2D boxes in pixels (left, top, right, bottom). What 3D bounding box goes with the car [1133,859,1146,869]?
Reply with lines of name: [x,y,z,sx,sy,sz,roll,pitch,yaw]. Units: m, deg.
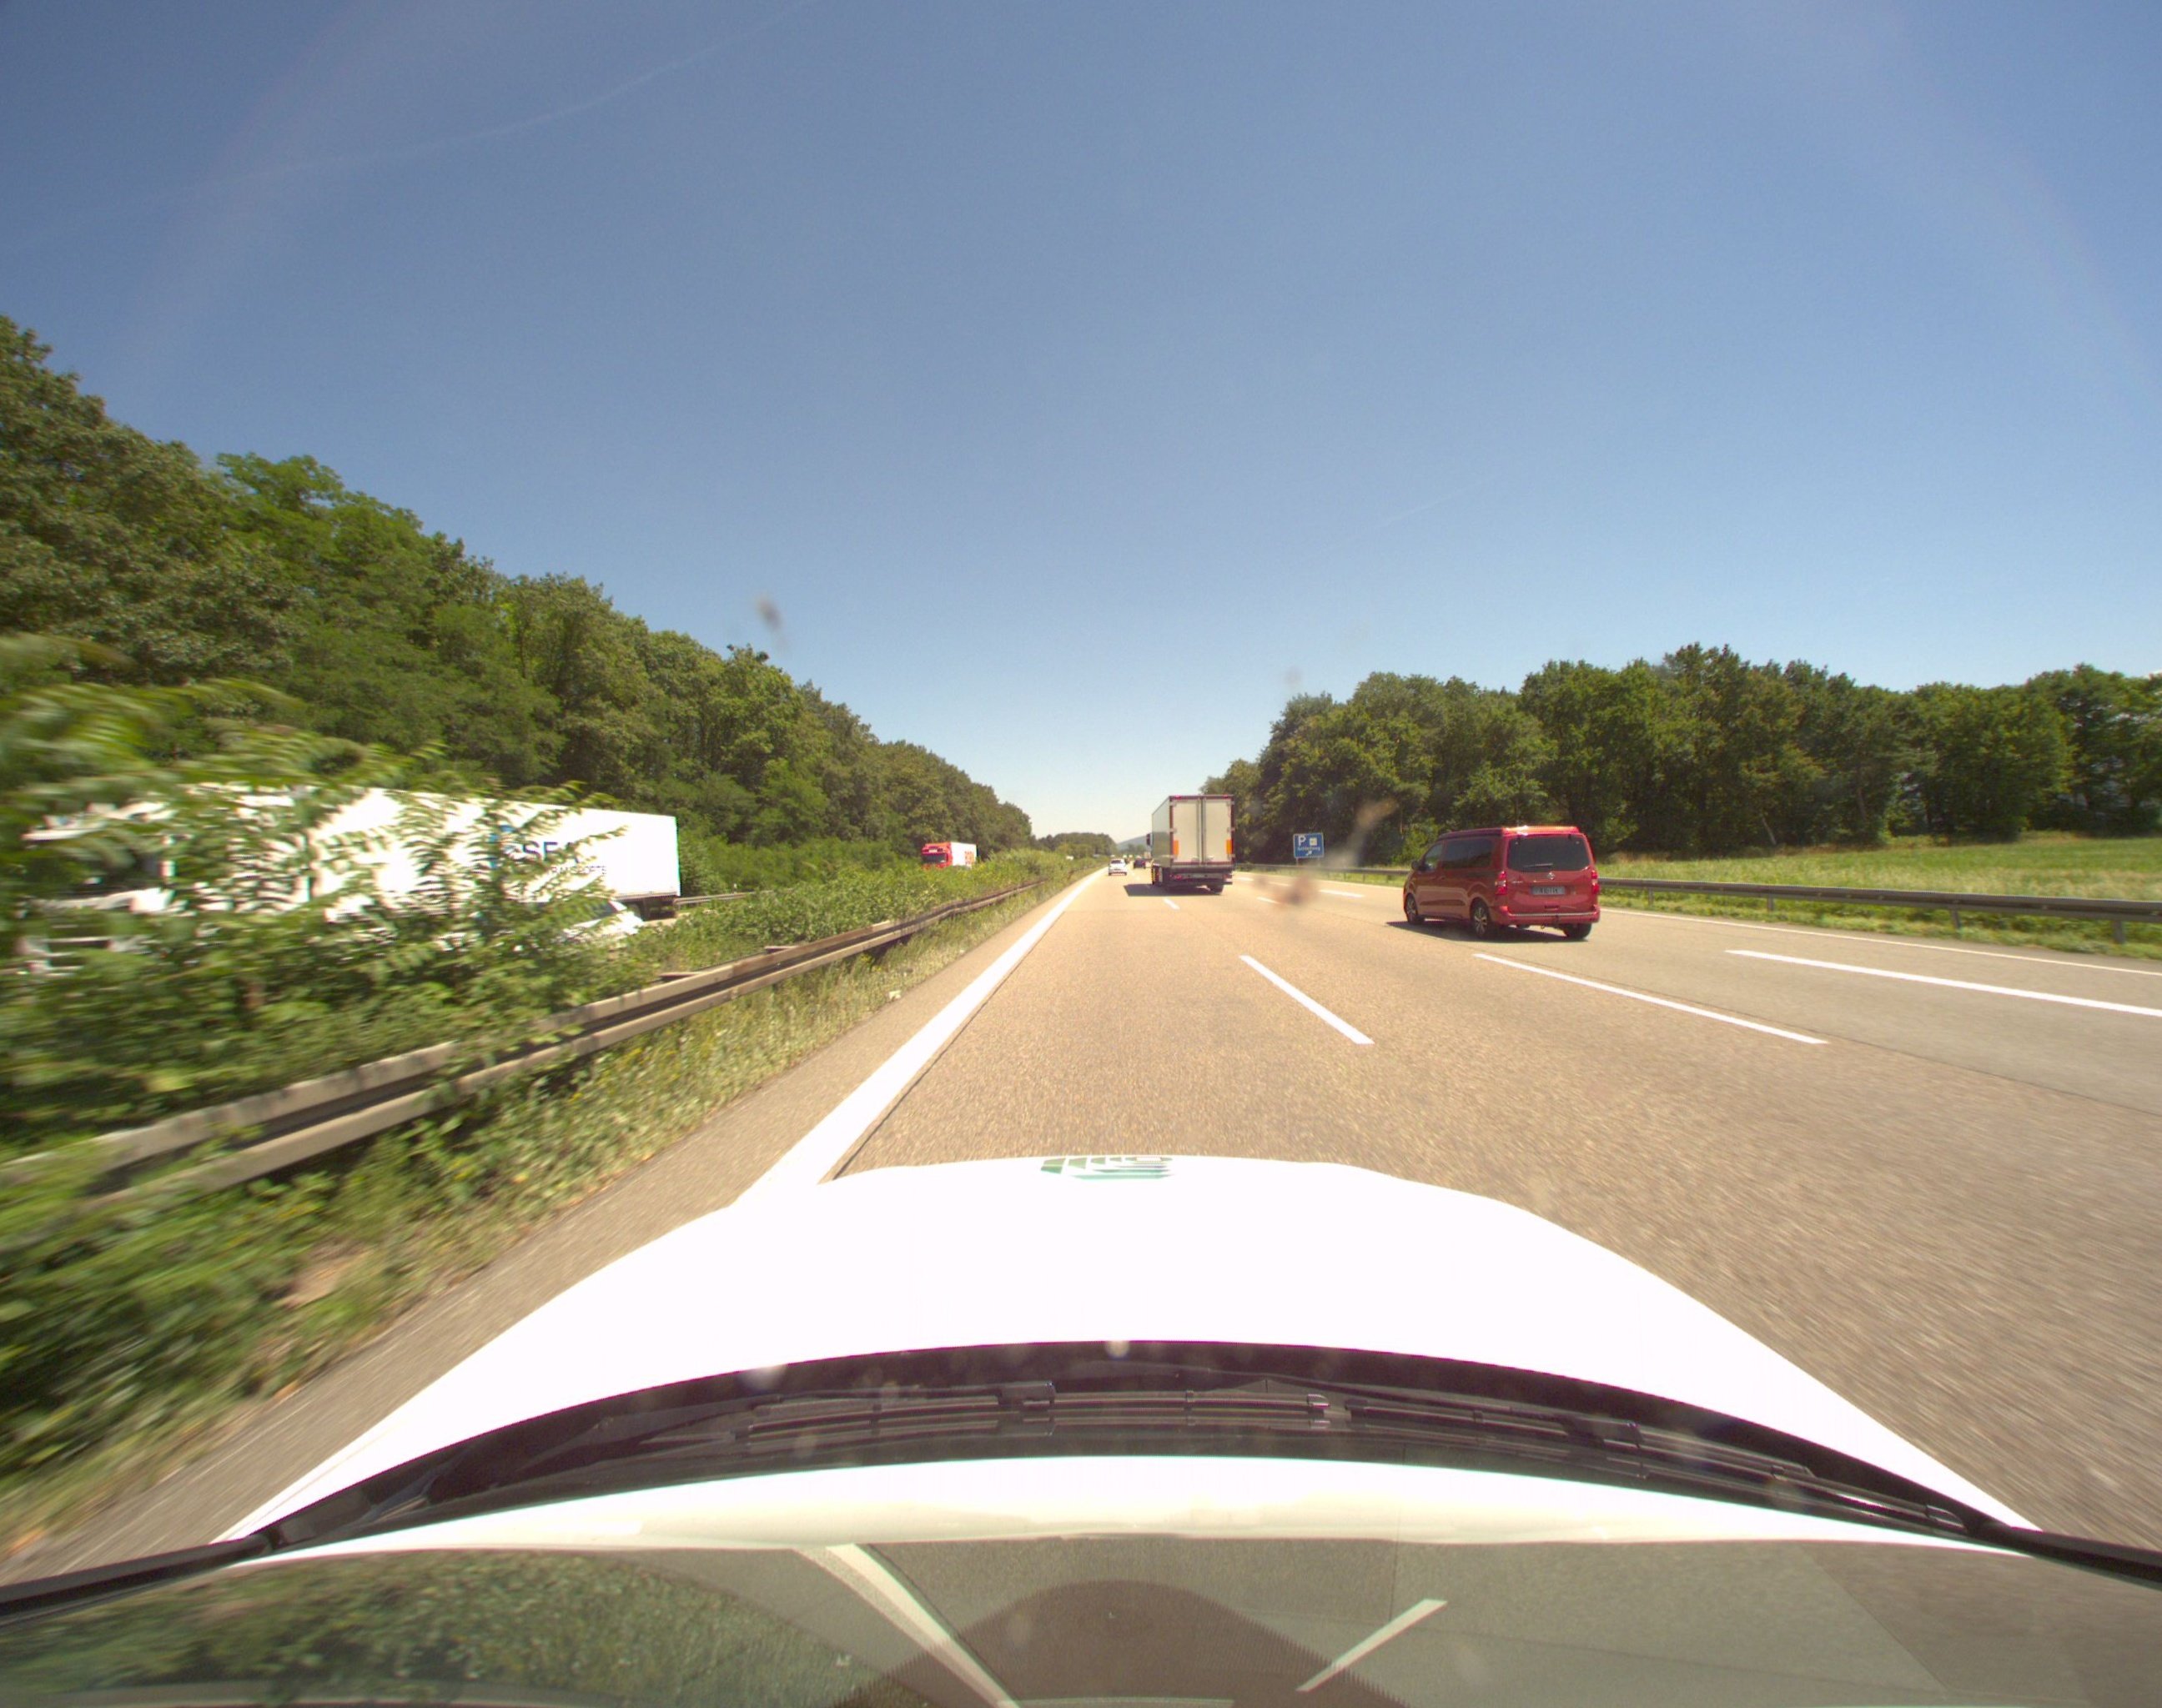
car: [8.540,1.405,118.475,1.658,1.289,4.009,-2,0,8]

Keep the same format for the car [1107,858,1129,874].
car: [3.446,1.095,76.020,1.806,1.405,3.315,-2,0,-1]

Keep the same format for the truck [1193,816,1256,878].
truck: [11.084,-0.482,64.069,3.212,4.345,10.810,-2,0,1]

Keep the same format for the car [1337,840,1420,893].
car: [12.197,0.484,33.679,1.986,2.013,4.001,-2,0,1]

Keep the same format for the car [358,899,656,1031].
car: [-8.760,1.603,12.940,1.763,1.511,4.002,-2,0,2]

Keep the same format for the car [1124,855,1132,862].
car: [14.297,1.359,246.068,2.100,2.013,4.000,-1,0,1]

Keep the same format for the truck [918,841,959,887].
truck: [-13.328,0.917,76.558,2.910,4.050,4.296,-1,0,1]

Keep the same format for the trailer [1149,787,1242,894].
trailer: [5.053,-0.525,38.420,3.210,4.143,12.362,-2,0,3]

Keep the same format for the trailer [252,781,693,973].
trailer: [-16.396,0.539,24.253,2.823,4.034,12.920,-3,0,2]

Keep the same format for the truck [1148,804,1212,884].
truck: [5.504,-0.525,45.978,3.215,4.157,4.563,-2,0,3]

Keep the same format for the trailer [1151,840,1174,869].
trailer: [13.511,0.120,136.143,3.168,4.627,12.059,-2,0,3]

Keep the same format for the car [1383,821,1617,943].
car: [7.920,0.474,16.169,1.849,2.003,5.522,-1,0,0]

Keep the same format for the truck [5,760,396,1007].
truck: [-16.709,0.510,15.903,2.823,4.034,4.187,-3,-1,2]
